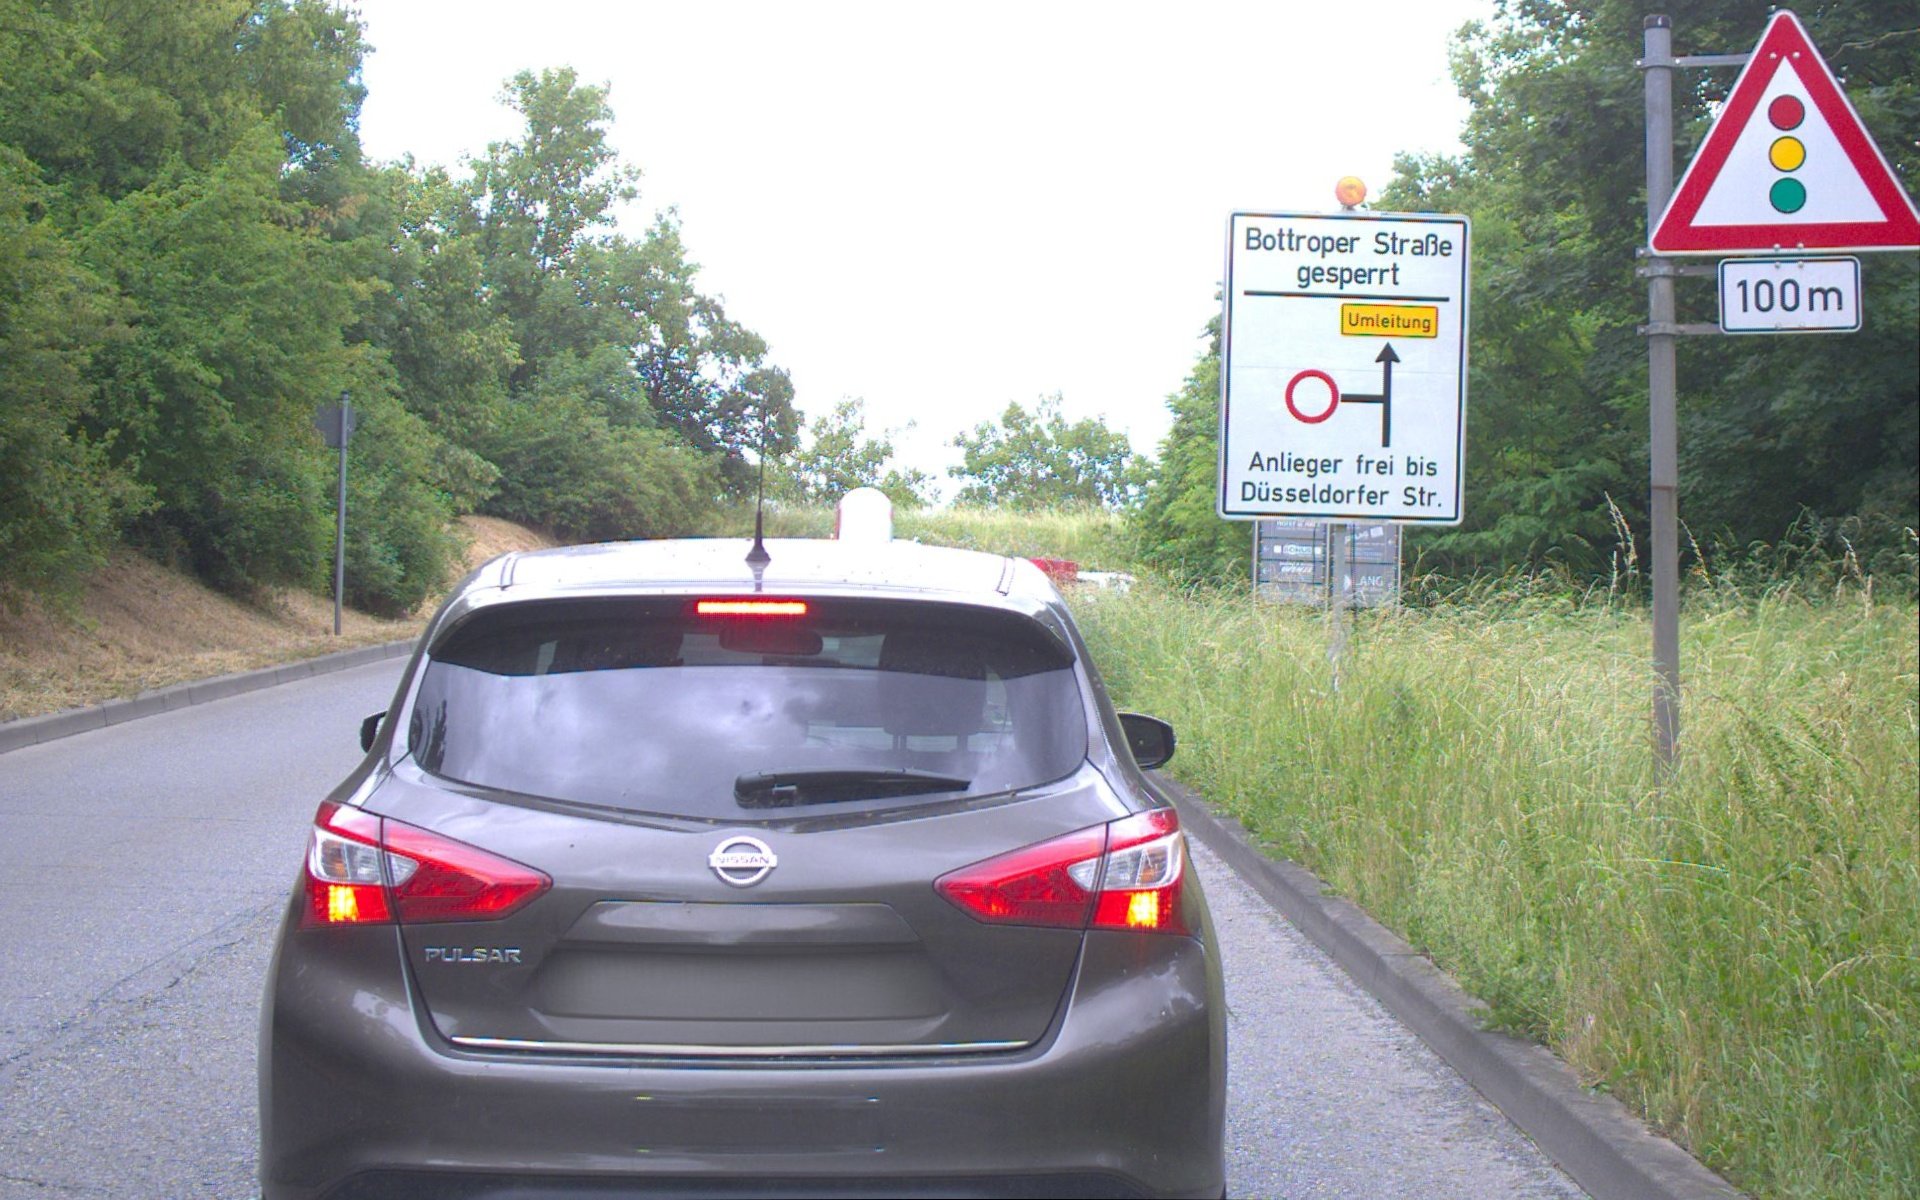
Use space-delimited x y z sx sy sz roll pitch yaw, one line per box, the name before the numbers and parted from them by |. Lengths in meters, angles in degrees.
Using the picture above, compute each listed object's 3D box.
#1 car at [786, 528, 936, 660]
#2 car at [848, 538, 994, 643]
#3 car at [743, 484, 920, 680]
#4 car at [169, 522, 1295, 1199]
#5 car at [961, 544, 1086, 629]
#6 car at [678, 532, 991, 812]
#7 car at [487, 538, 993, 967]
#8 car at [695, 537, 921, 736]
car | -1.210 -0.106 41.674 1.736 1.521 3.544 0 1 -2
car | -0.550 -0.166 51.693 1.736 1.521 3.640 0 1 7
car | -1.314 -0.210 35.692 1.736 1.928 3.544 0 1 -1
car | -0.437 0.624 7.365 1.830 1.551 3.500 0 1 -2
car | 1.201 -0.266 63.844 1.737 1.521 3.640 0 1 11
car | -0.705 0.371 20.899 1.736 1.551 3.544 0 1 0
car | -0.808 0.524 14.304 1.830 1.551 3.625 0 1 0
car | -1.208 0.251 28.683 1.736 1.551 3.544 0 1 0
